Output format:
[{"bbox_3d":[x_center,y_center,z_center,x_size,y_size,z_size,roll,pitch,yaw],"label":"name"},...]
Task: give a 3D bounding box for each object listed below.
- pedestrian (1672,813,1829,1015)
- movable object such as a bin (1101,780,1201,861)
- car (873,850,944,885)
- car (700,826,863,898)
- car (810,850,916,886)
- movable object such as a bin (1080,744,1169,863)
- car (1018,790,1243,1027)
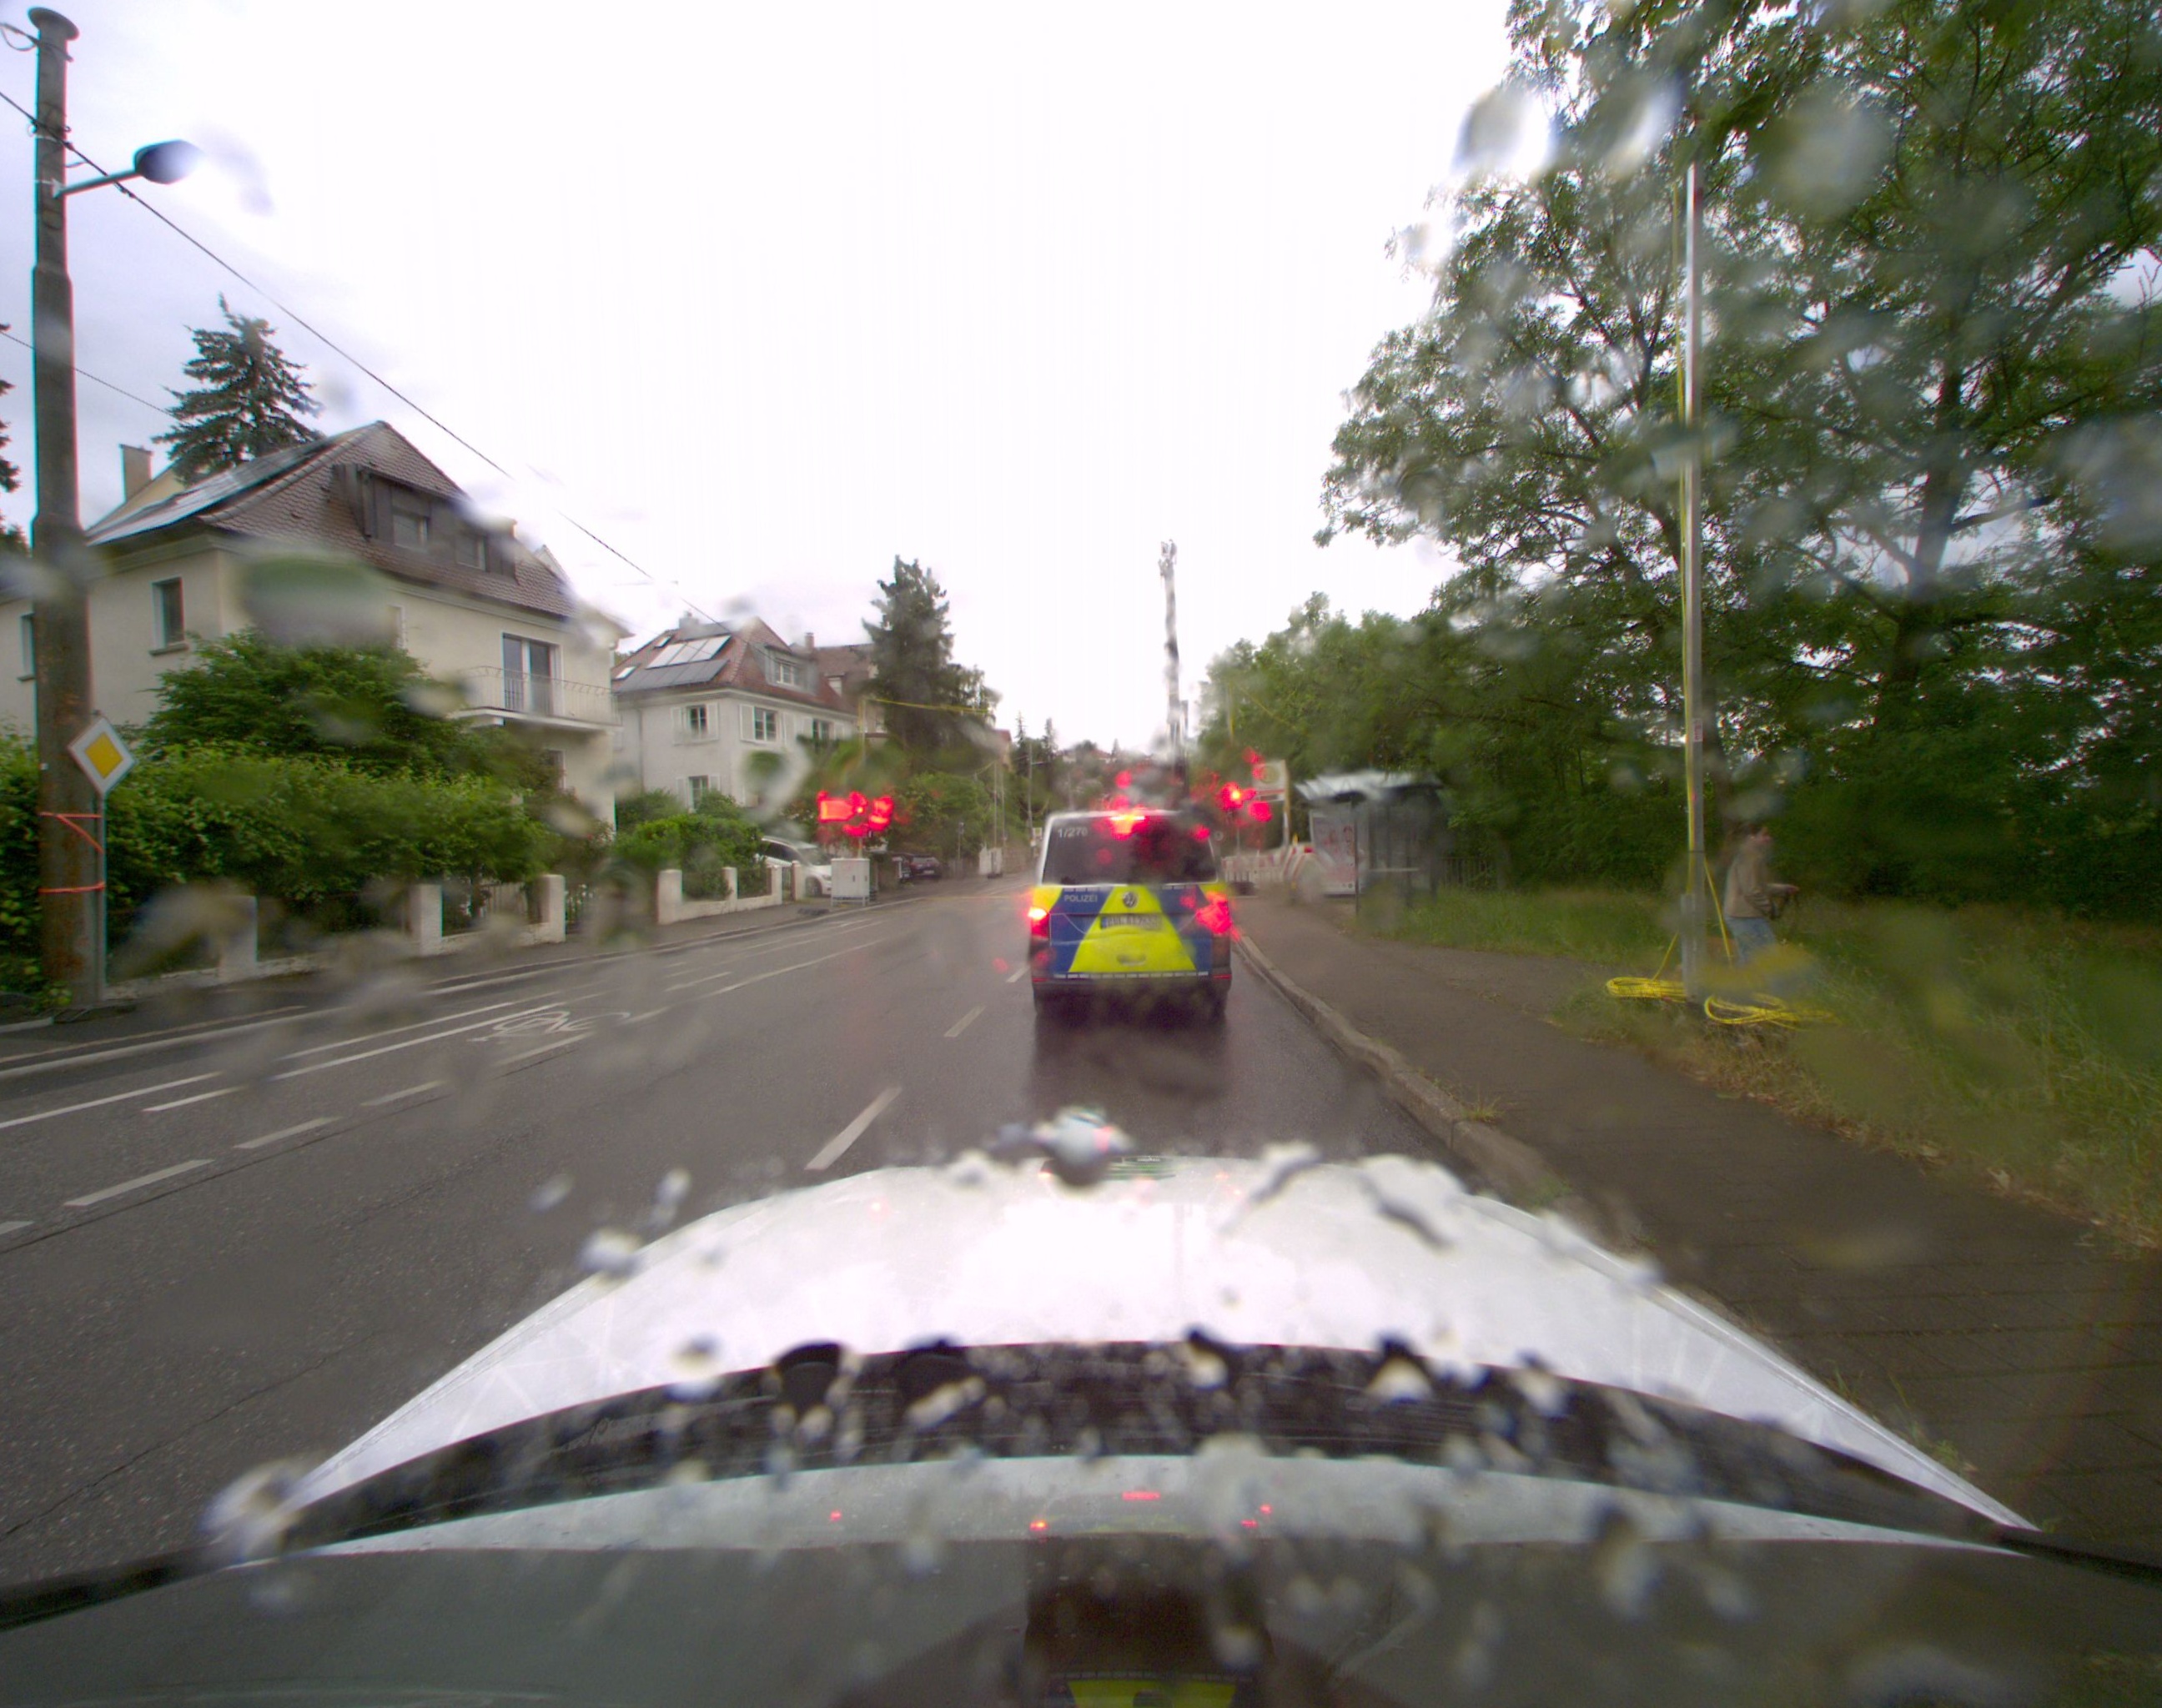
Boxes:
[{"bbox_3d":[5.625,0.483,6.891,0.745,1.604,0.734,-1,-1,10],"label":"pedestrian"},{"bbox_3d":[4.918,-2.161,55.947,3.646,5.066,7.209,-3,-1,34],"label":"movable object such as a bin"},{"bbox_3d":[-8.127,0.601,38.177,1.795,1.525,3.955,0,0,-37],"label":"car"},{"bbox_3d":[-10.285,0.208,28.009,4.927,1.616,1.872,9,4,15],"label":"car"},{"bbox_3d":[-9.402,0.600,35.277,3.958,1.525,1.948,-1,-1,15],"label":"car"},{"bbox_3d":[1.822,-1.854,31.747,2.862,4.170,4.499,-2,1,9],"label":"movable object such as a bin"},{"bbox_3d":[0.489,0.482,9.149,1.901,2.010,4.441,0,-1,2],"label":"car"}]
